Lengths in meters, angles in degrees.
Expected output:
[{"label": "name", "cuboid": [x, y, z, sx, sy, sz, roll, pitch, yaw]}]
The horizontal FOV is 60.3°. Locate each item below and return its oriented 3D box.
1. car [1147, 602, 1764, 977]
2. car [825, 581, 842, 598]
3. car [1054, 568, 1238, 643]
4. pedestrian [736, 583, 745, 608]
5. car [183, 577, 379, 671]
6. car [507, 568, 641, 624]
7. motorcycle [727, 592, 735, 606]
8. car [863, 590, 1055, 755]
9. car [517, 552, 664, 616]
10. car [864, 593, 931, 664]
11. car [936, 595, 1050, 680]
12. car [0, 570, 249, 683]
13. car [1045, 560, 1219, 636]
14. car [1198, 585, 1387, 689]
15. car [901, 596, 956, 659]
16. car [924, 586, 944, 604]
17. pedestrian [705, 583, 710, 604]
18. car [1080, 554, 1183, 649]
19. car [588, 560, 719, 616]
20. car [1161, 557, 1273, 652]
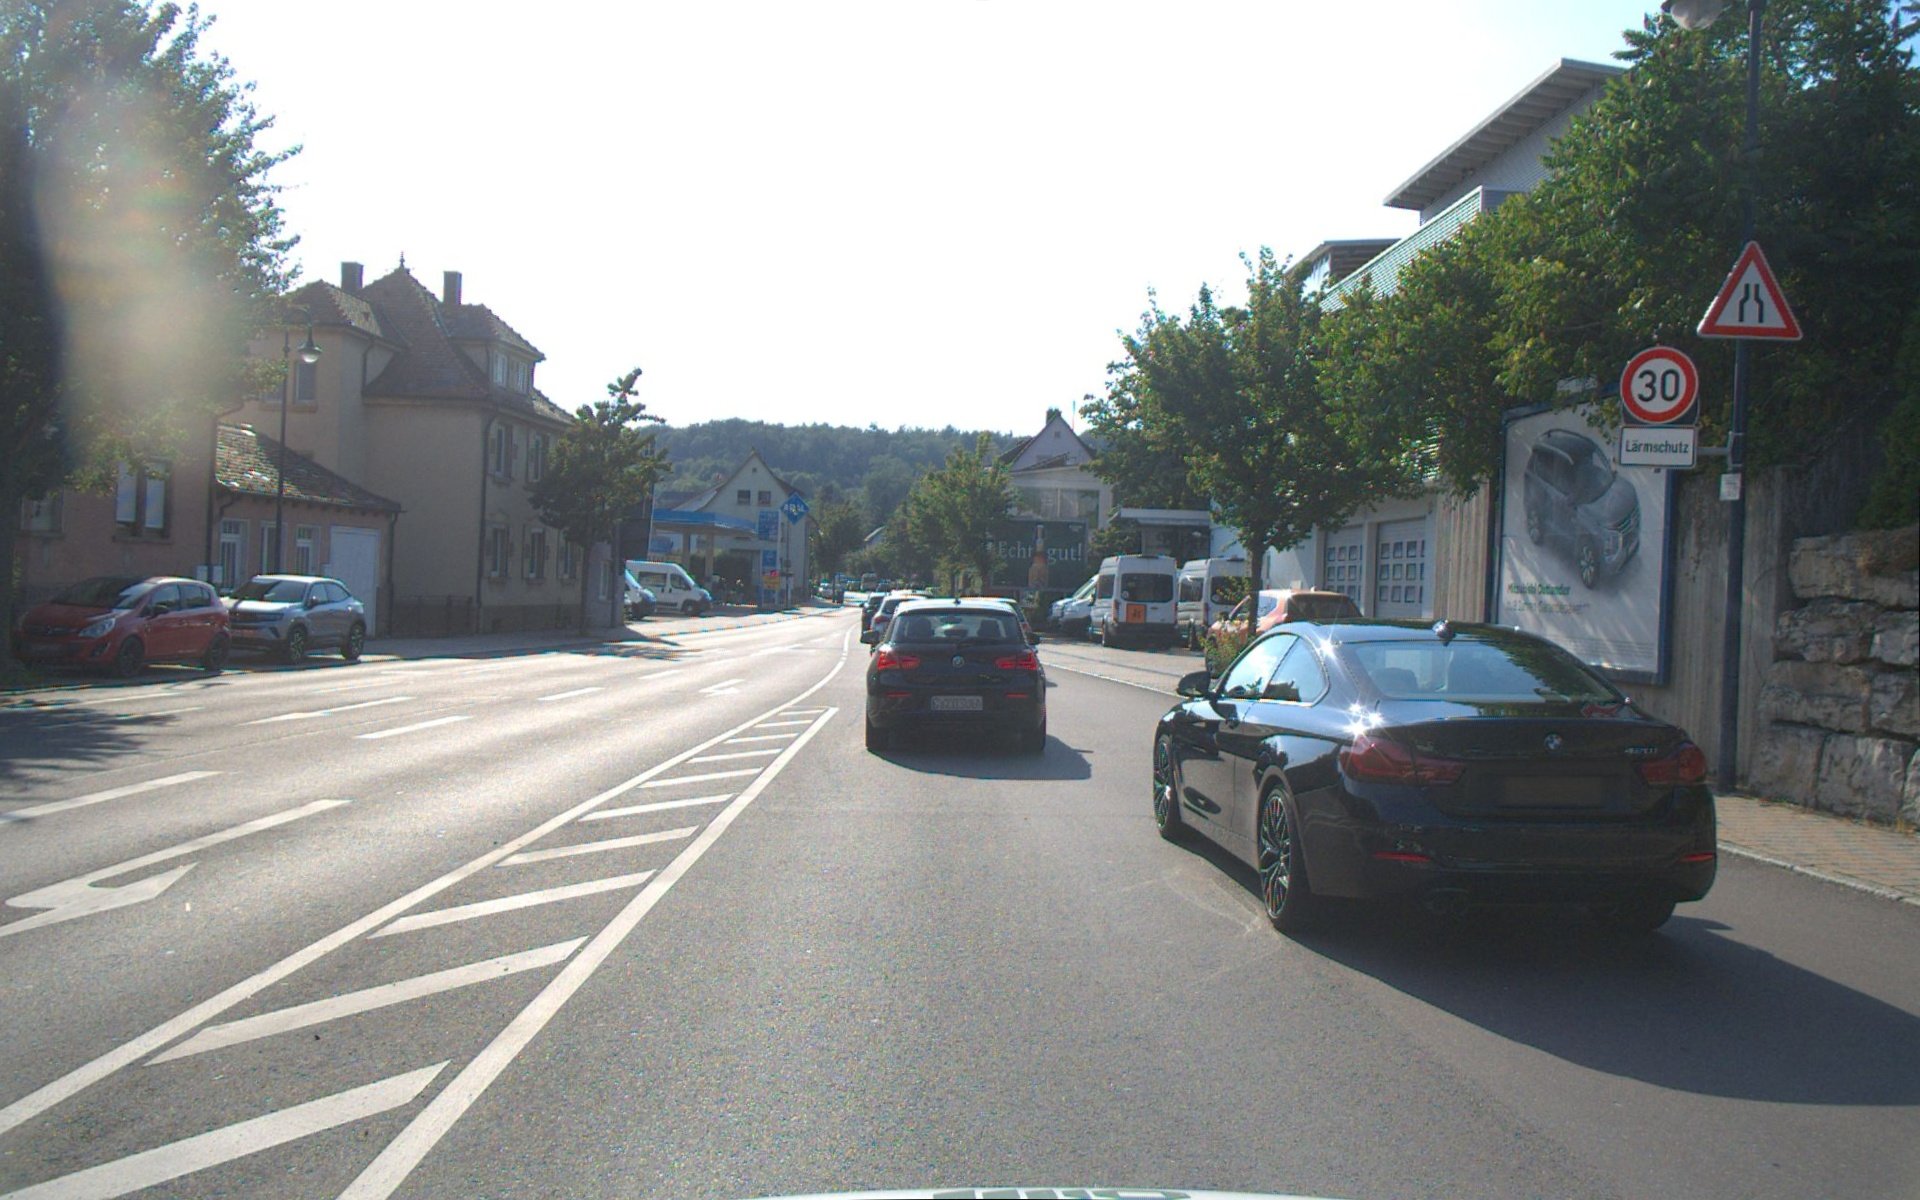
[{"label": "car", "cuboid": [2.202, 0.746, 8.626, 1.666, 1.393, 4.259, 0, 1, -4]}, {"label": "car", "cuboid": [-12.260, -1.010, 160.415, 1.565, 1.511, 3.473, 2, 1, -3]}, {"label": "car", "cuboid": [6.312, 0.177, 56.432, 5.925, 2.404, 2.042, 1, 1, -5]}, {"label": "pedestrian", "cuboid": [-14.978, -0.280, 112.941, 0.598, 1.699, 0.442, 1, 0, -5]}, {"label": "car", "cuboid": [-12.562, 0.394, 30.885, 1.719, 1.504, 4.002, 4, 1, 3]}, {"label": "car", "cuboid": [-15.520, -0.160, 66.713, 4.874, 2.034, 1.935, 2, 0, 0]}, {"label": "motorcycle", "cuboid": [-15.600, -0.083, 112.573, 0.356, 0.960, 1.695, 1, 1, -3]}, {"label": "car", "cuboid": [-0.037, 0.655, 16.846, 1.735, 1.482, 3.515, 1, 0, -1]}, {"label": "car", "cuboid": [-16.080, -0.700, 72.188, 5.797, 2.523, 2.194, 2, 1, 2]}, {"label": "car", "cuboid": [-1.519, 0.668, 41.457, 1.559, 1.628, 3.893, 1, 1, -1]}, {"label": "car", "cuboid": [0.569, 0.670, 31.009, 1.720, 1.438, 3.418, 1, 1, -6]}, {"label": "car", "cuboid": [-12.942, 0.376, 25.786, 1.631, 1.513, 4.002, 4, 0, 4]}, {"label": "car", "cuboid": [6.138, -0.079, 59.382, 5.925, 2.560, 2.042, 1, 1, -5]}, {"label": "car", "cuboid": [5.818, 0.600, 29.540, 1.801, 1.678, 4.528, 1, 0, -9]}, {"label": "car", "cuboid": [-0.946, 0.823, 50.755, 1.570, 1.798, 3.411, 1, 1, 0]}, {"label": "car", "cuboid": [-2.320, -0.490, 147.719, 1.565, 1.511, 3.473, 2, 1, -3]}, {"label": "pedestrian", "cuboid": [-17.062, -0.448, 111.717, 0.258, 1.407, 0.287, 1, 0, -17]}, {"label": "car", "cuboid": [5.247, 0.005, 51.505, 2.107, 2.727, 6.599, 1, 1, -3]}, {"label": "car", "cuboid": [-15.128, -0.603, 81.985, 6.035, 2.487, 2.249, 2, 0, -2]}, {"label": "car", "cuboid": [7.943, 0.093, 51.825, 2.069, 2.769, 6.438, 1, 1, -4]}]
